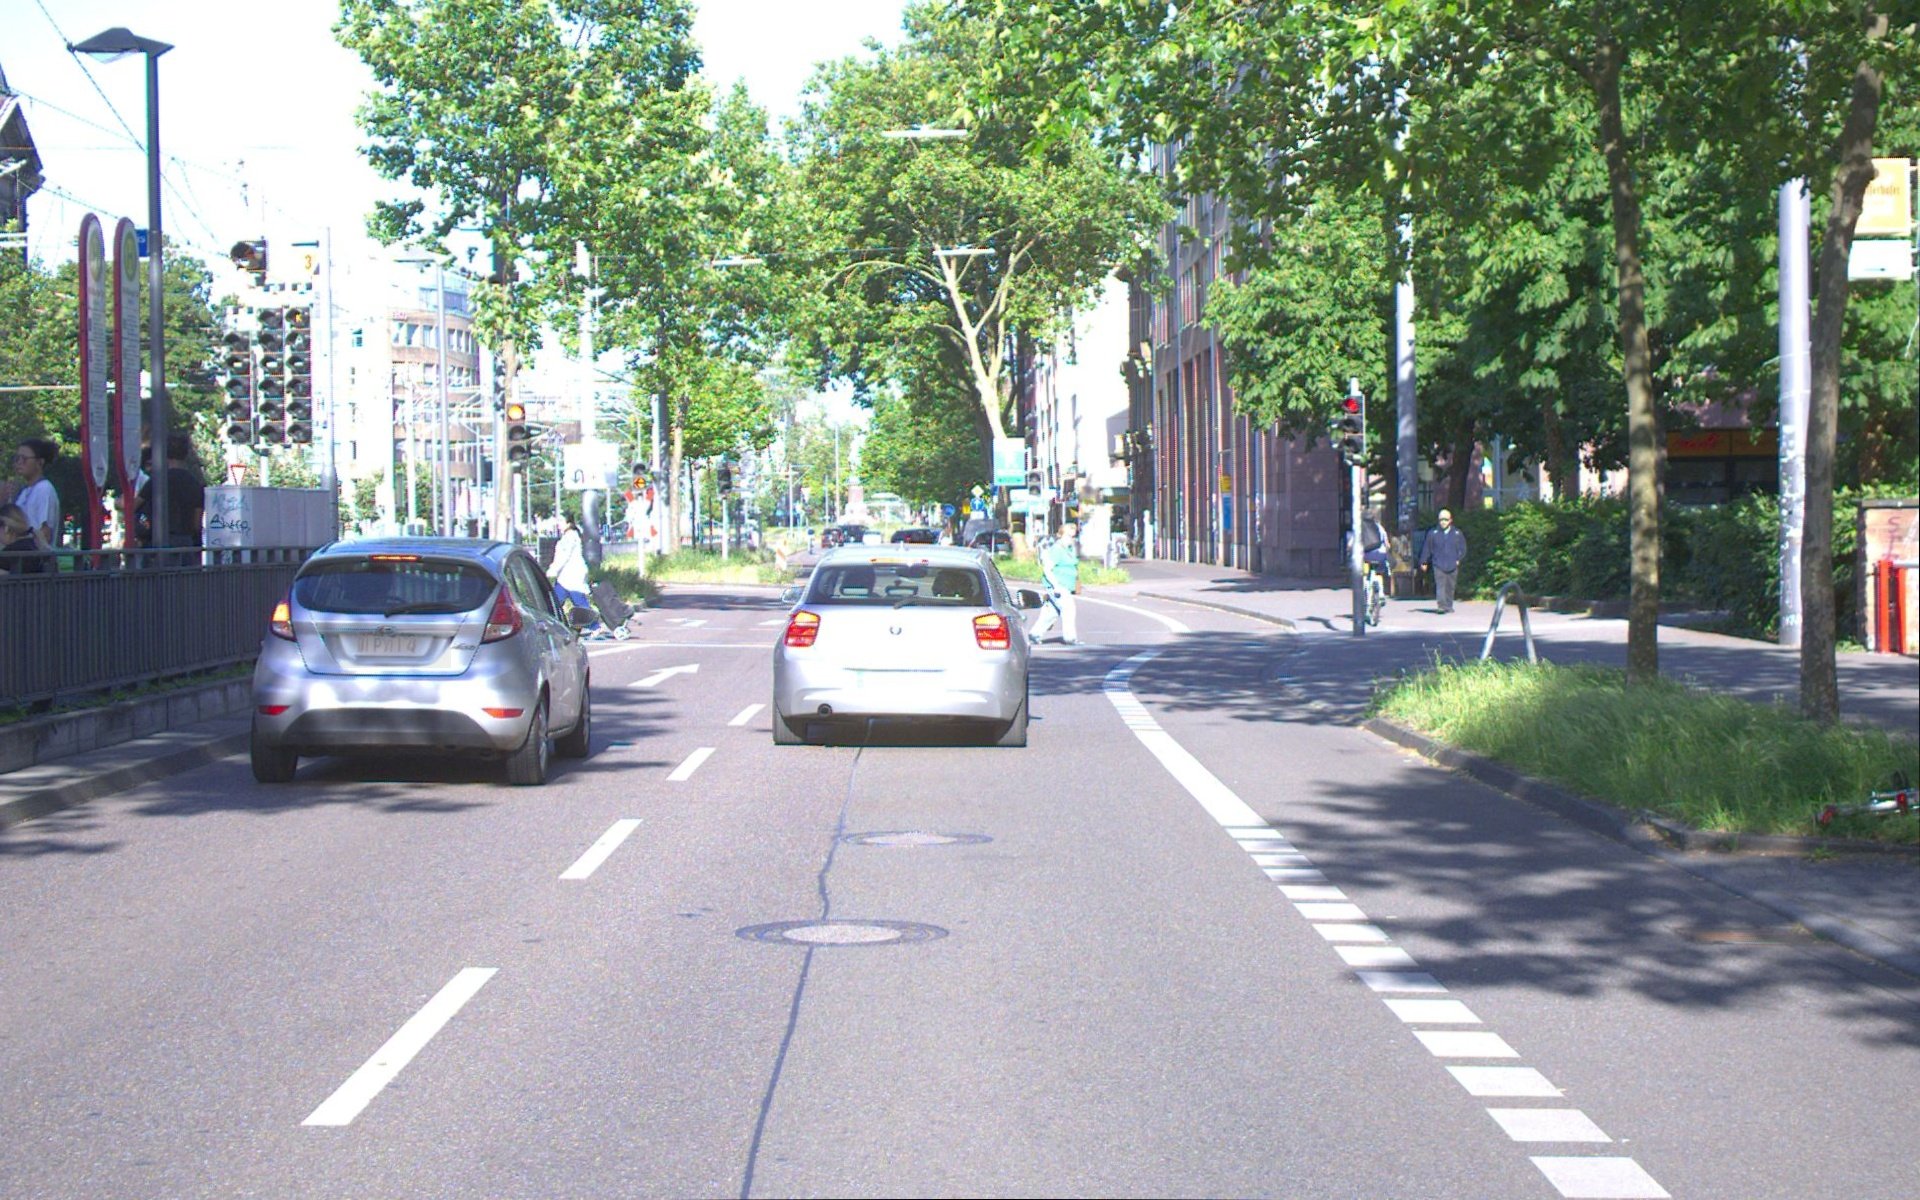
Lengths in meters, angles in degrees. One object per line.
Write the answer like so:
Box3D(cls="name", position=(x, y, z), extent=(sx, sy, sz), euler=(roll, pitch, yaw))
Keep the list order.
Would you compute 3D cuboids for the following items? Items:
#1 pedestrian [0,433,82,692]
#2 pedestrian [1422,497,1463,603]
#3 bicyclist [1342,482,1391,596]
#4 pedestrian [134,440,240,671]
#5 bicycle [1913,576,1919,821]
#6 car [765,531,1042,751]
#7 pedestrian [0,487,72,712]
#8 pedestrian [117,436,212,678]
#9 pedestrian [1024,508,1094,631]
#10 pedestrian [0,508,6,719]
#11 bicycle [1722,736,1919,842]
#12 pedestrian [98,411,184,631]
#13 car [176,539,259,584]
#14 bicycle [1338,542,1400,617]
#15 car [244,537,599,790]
Box3D(cls="pedestrian", position=(-6.194, -0.252, 22.932), extent=(0.505, 1.696, 0.612), euler=(-1, 1, -4))
Box3D(cls="pedestrian", position=(7.495, -0.777, 53.407), extent=(0.627, 1.623, 0.943), euler=(0, 1, 8))
Box3D(cls="bicyclist", position=(6.014, -0.908, 50.857), extent=(0.658, 1.651, 0.765), euler=(-1, 1, 8))
Box3D(cls="pedestrian", position=(-5.865, -0.342, 26.083), extent=(0.548, 1.728, 0.539), euler=(-2, 2, -41))
Box3D(cls="bicycle", position=(4.991, 0.461, 15.029), extent=(0.788, 1.129, 1.847), euler=(-2, 1, -13))
Box3D(cls="car", position=(-0.337, 0.237, 25.089), extent=(1.730, 1.385, 3.840), euler=(1, 2, 3))
Box3D(cls="pedestrian", position=(-5.556, -0.007, 20.420), extent=(0.415, 1.311, 0.507), euler=(-1, 1, -2))
Box3D(cls="pedestrian", position=(-5.787, -0.314, 25.029), extent=(0.547, 1.728, 0.540), euler=(-1, 1, -4))
Box3D(cls="pedestrian", position=(1.282, -0.398, 44.349), extent=(0.830, 1.570, 0.739), euler=(0, 1, 7))
Box3D(cls="pedestrian", position=(-5.693, 0.084, 19.224), extent=(0.545, 1.188, 0.531), euler=(-1, 1, -1))
Box3D(cls="bicycle", position=(4.445, 0.844, 15.709), extent=(1.608, 0.352, 1.389), euler=(-1, 1, 0))
Box3D(cls="pedestrian", position=(-6.549, -0.631, 27.514), extent=(0.547, 1.728, 0.540), euler=(-1, 1, -4))
Box3D(cls="car", position=(-27.640, -1.453, 128.089), extent=(1.994, 1.619, 4.000), euler=(-1, 1, 3))
Box3D(cls="bicycle", position=(6.067, -0.312, 50.884), extent=(0.832, 1.038, 1.874), euler=(-1, 1, 8))
Box3D(cls="car", position=(-3.214, 0.325, 21.118), extent=(1.660, 1.404, 3.632), euler=(0, 1, -1))
